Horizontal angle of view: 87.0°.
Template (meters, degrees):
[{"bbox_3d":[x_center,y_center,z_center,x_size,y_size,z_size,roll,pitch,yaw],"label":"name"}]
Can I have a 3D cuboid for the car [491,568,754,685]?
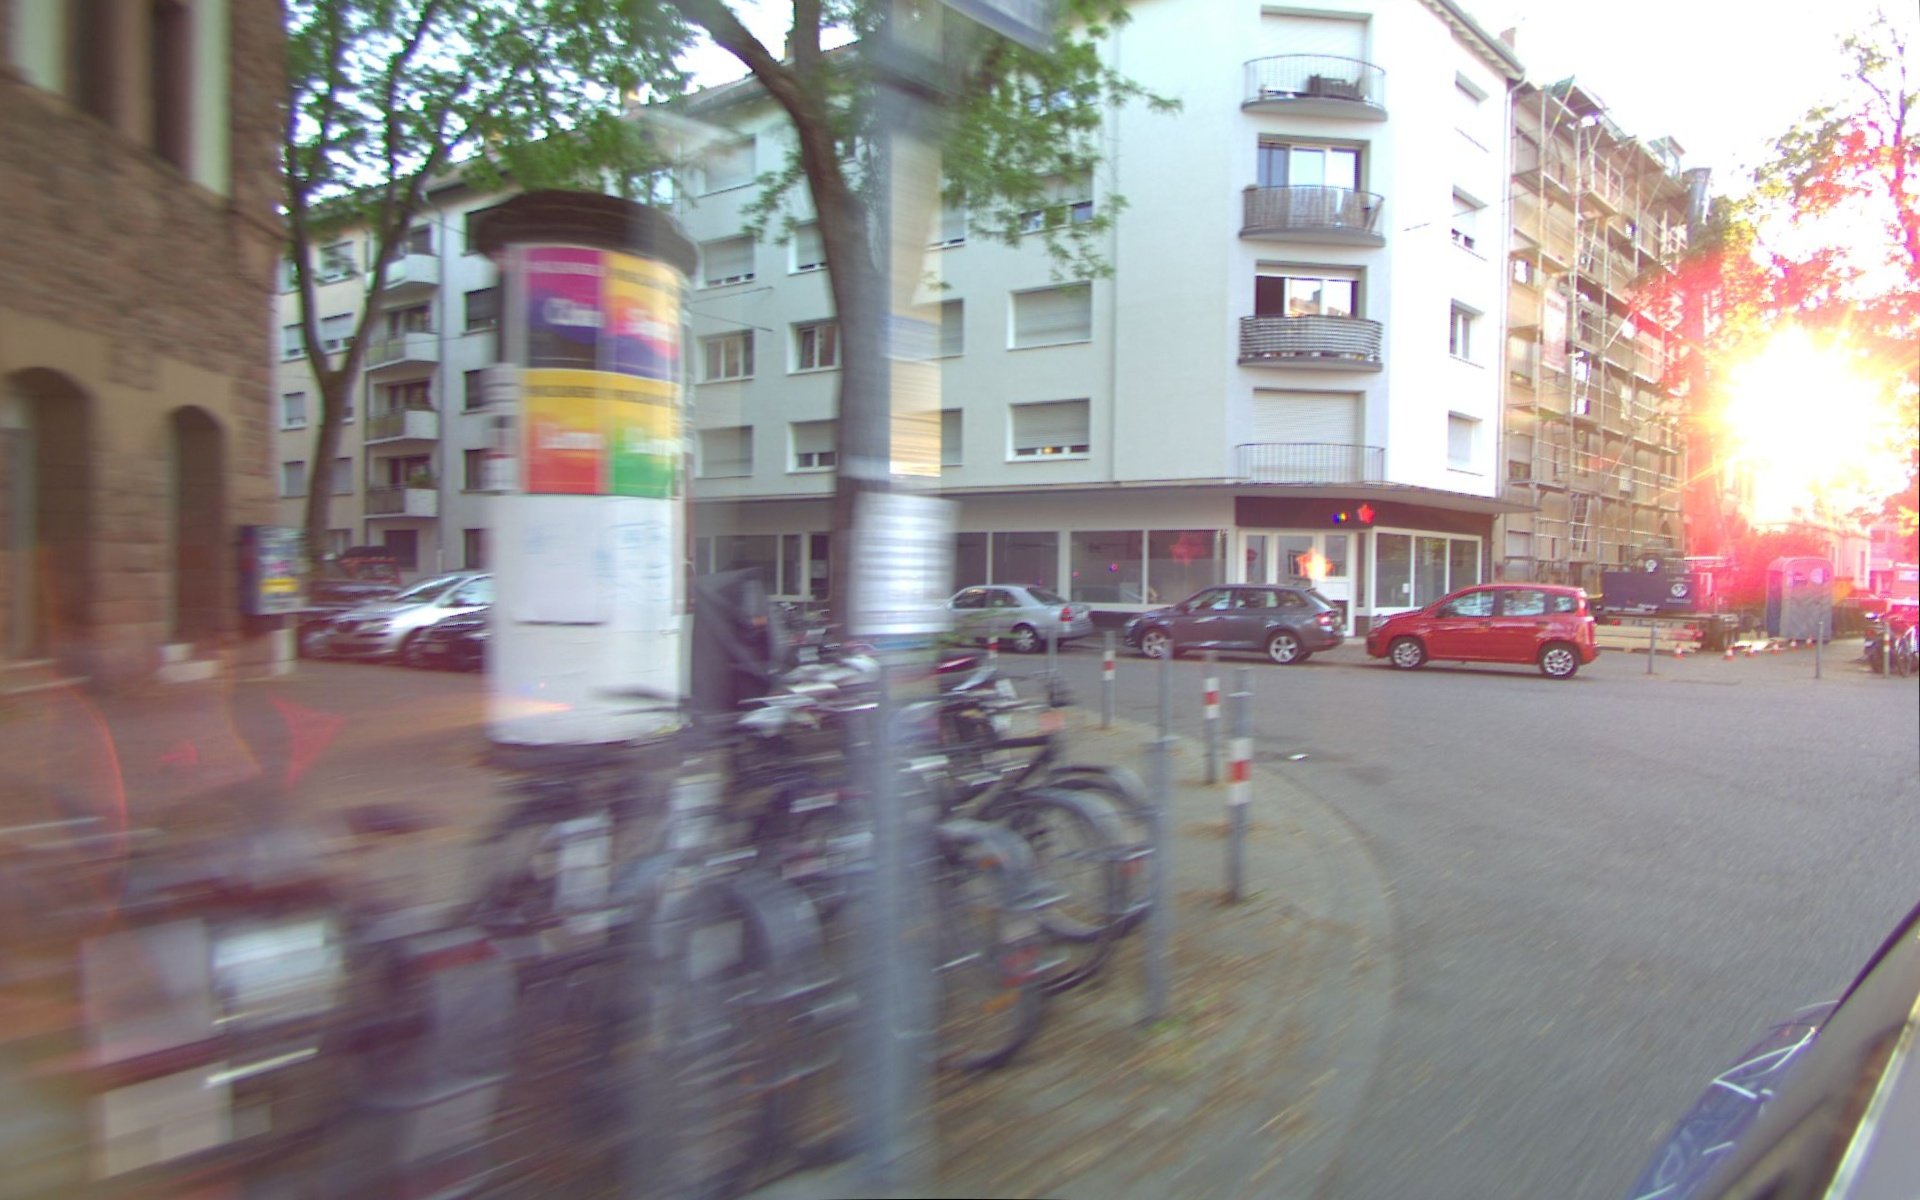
[{"bbox_3d":[-4.804,0.300,14.797,1.668,1.496,3.394,1,1,32],"label":"car"}]

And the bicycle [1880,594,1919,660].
[{"bbox_3d":[19.524,0.583,20.001,1.904,1.273,0.400,5,4,44],"label":"bicycle"}]

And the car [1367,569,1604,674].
[{"bbox_3d":[8.992,0.312,17.454,3.450,1.593,1.609,2,1,31],"label":"car"}]

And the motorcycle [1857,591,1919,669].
[{"bbox_3d":[17.619,0.536,19.086,2.022,1.372,0.504,-1,4,-34],"label":"motorcycle"}]

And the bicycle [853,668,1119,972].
[{"bbox_3d":[0.066,0.852,4.306,0.325,1.000,1.225,1,2,-43],"label":"bicycle"}]

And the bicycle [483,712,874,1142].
[{"bbox_3d":[-0.867,0.883,3.017,1.217,0.959,0.327,2,0,28],"label":"bicycle"}]

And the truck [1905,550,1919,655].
[{"bbox_3d":[23.669,0.013,23.569,6.663,2.272,1.979,-1,2,-43],"label":"truck"}]

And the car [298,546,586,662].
[{"bbox_3d":[-8.689,0.008,17.323,1.763,1.742,4.096,1,1,32],"label":"car"}]

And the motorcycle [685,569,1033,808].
[{"bbox_3d":[-0.635,0.547,6.675,2.173,1.426,0.585,2,0,4],"label":"motorcycle"}]

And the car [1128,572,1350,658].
[{"bbox_3d":[5.329,0.252,19.422,3.862,1.526,1.610,0,0,29],"label":"car"}]

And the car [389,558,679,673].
[{"bbox_3d":[-6.604,0.162,16.086,1.812,1.573,3.955,1,2,32],"label":"car"}]

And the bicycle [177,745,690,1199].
[{"bbox_3d":[-1.231,0.893,2.327,1.214,0.963,0.328,2,0,23],"label":"bicycle"}]

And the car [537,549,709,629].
[{"bbox_3d":[-9.199,-0.318,27.589,4.432,2.043,1.891,0,2,27],"label":"car"}]

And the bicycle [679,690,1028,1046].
[{"bbox_3d":[-0.395,0.858,3.525,1.217,0.969,0.327,2,0,28],"label":"bicycle"}]

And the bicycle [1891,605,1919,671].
[{"bbox_3d":[17.688,0.672,18.513,2.113,1.123,0.407,0,3,-34],"label":"bicycle"}]

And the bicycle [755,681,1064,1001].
[{"bbox_3d":[-0.227,0.860,3.927,1.219,0.975,0.326,2,1,33],"label":"bicycle"}]

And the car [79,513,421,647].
[{"bbox_3d":[-14.683,-0.436,21.397,2.377,2.448,5.499,1,1,27],"label":"car"}]

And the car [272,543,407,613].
[{"bbox_3d":[-21.016,-0.759,34.252,4.434,2.227,1.890,0,2,28],"label":"car"}]

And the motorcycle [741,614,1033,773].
[{"bbox_3d":[-0.543,0.696,7.782,2.173,1.093,0.437,2,0,5],"label":"motorcycle"}]

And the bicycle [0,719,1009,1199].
[{"bbox_3d":[-0.756,0.839,1.603,1.602,1.187,0.446,0,1,-16],"label":"bicycle"}]

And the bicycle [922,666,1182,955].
[{"bbox_3d":[0.363,0.854,4.497,0.325,0.999,1.226,1,2,-42],"label":"bicycle"}]

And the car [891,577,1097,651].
[{"bbox_3d":[0.714,0.253,21.932,4.193,1.446,1.642,0,2,27],"label":"car"}]

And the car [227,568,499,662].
[{"bbox_3d":[-10.904,0.228,18.742,1.844,1.537,3.952,-1,0,34],"label":"car"}]
